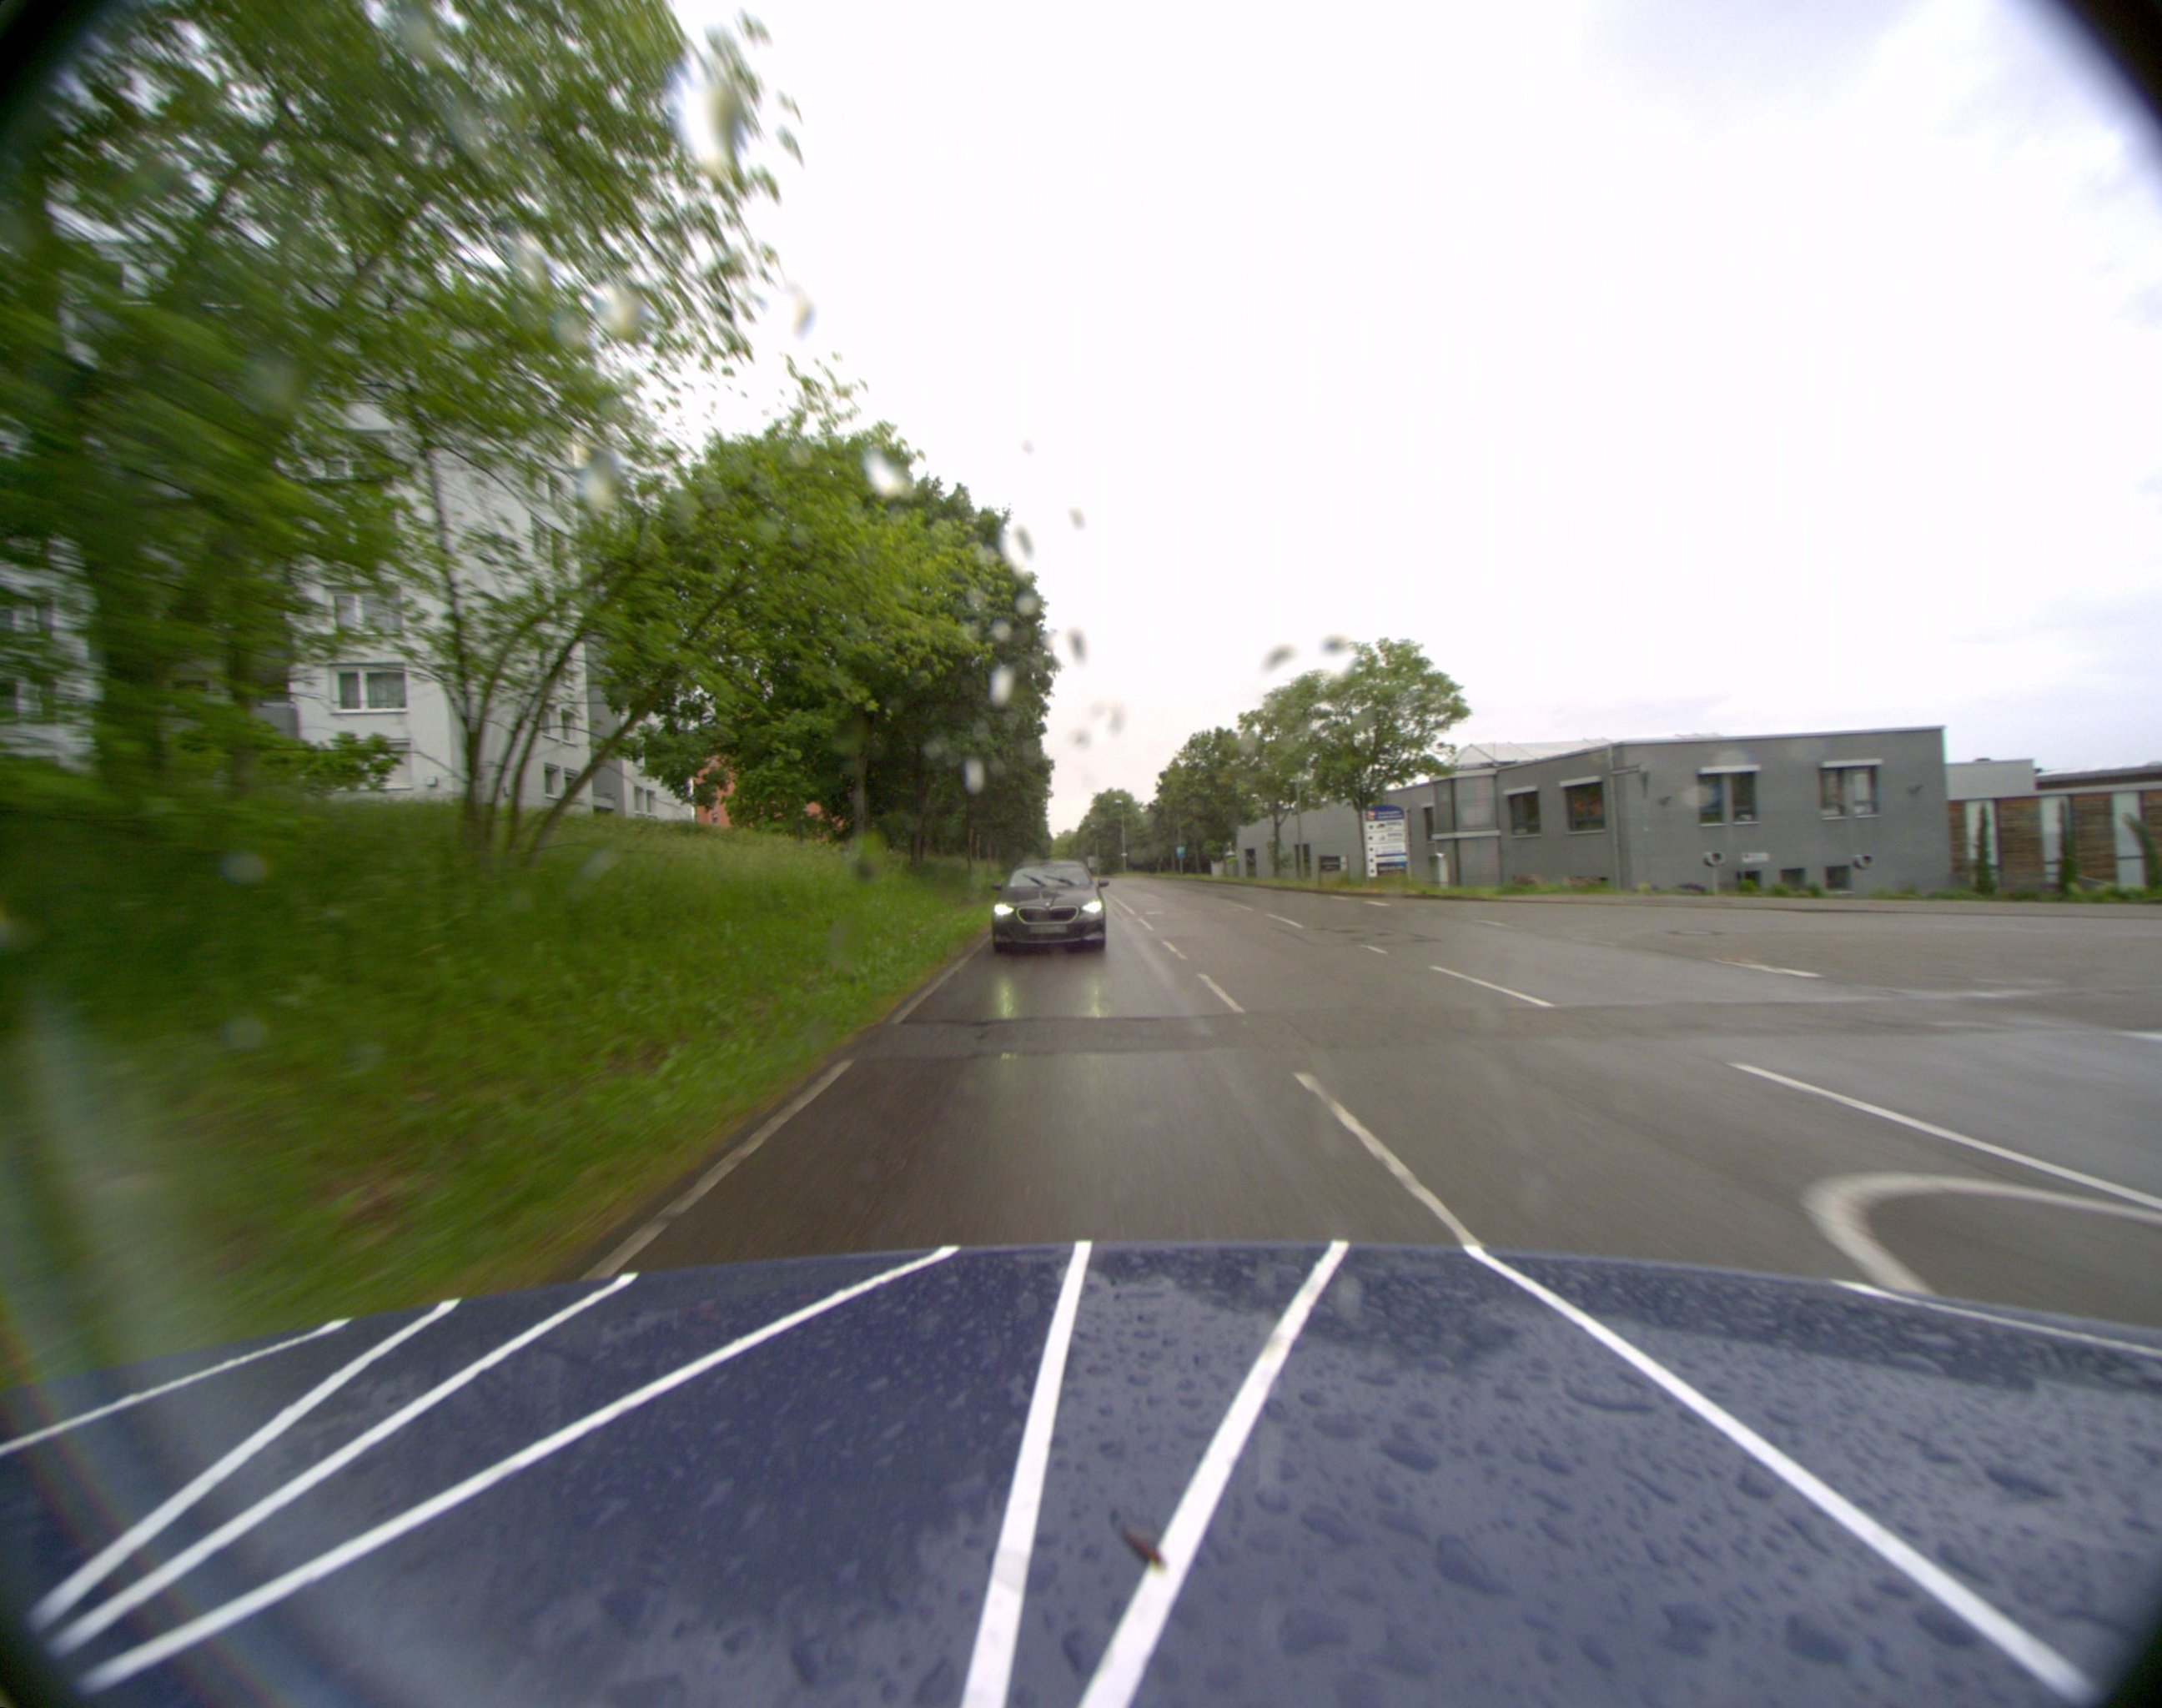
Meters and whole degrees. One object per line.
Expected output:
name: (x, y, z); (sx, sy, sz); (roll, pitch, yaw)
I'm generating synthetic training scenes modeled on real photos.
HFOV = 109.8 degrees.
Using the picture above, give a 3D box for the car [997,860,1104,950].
car: (-0.592, 0.907, 15.263); (1.845, 1.471, 3.999); (-1, 0, -2)
